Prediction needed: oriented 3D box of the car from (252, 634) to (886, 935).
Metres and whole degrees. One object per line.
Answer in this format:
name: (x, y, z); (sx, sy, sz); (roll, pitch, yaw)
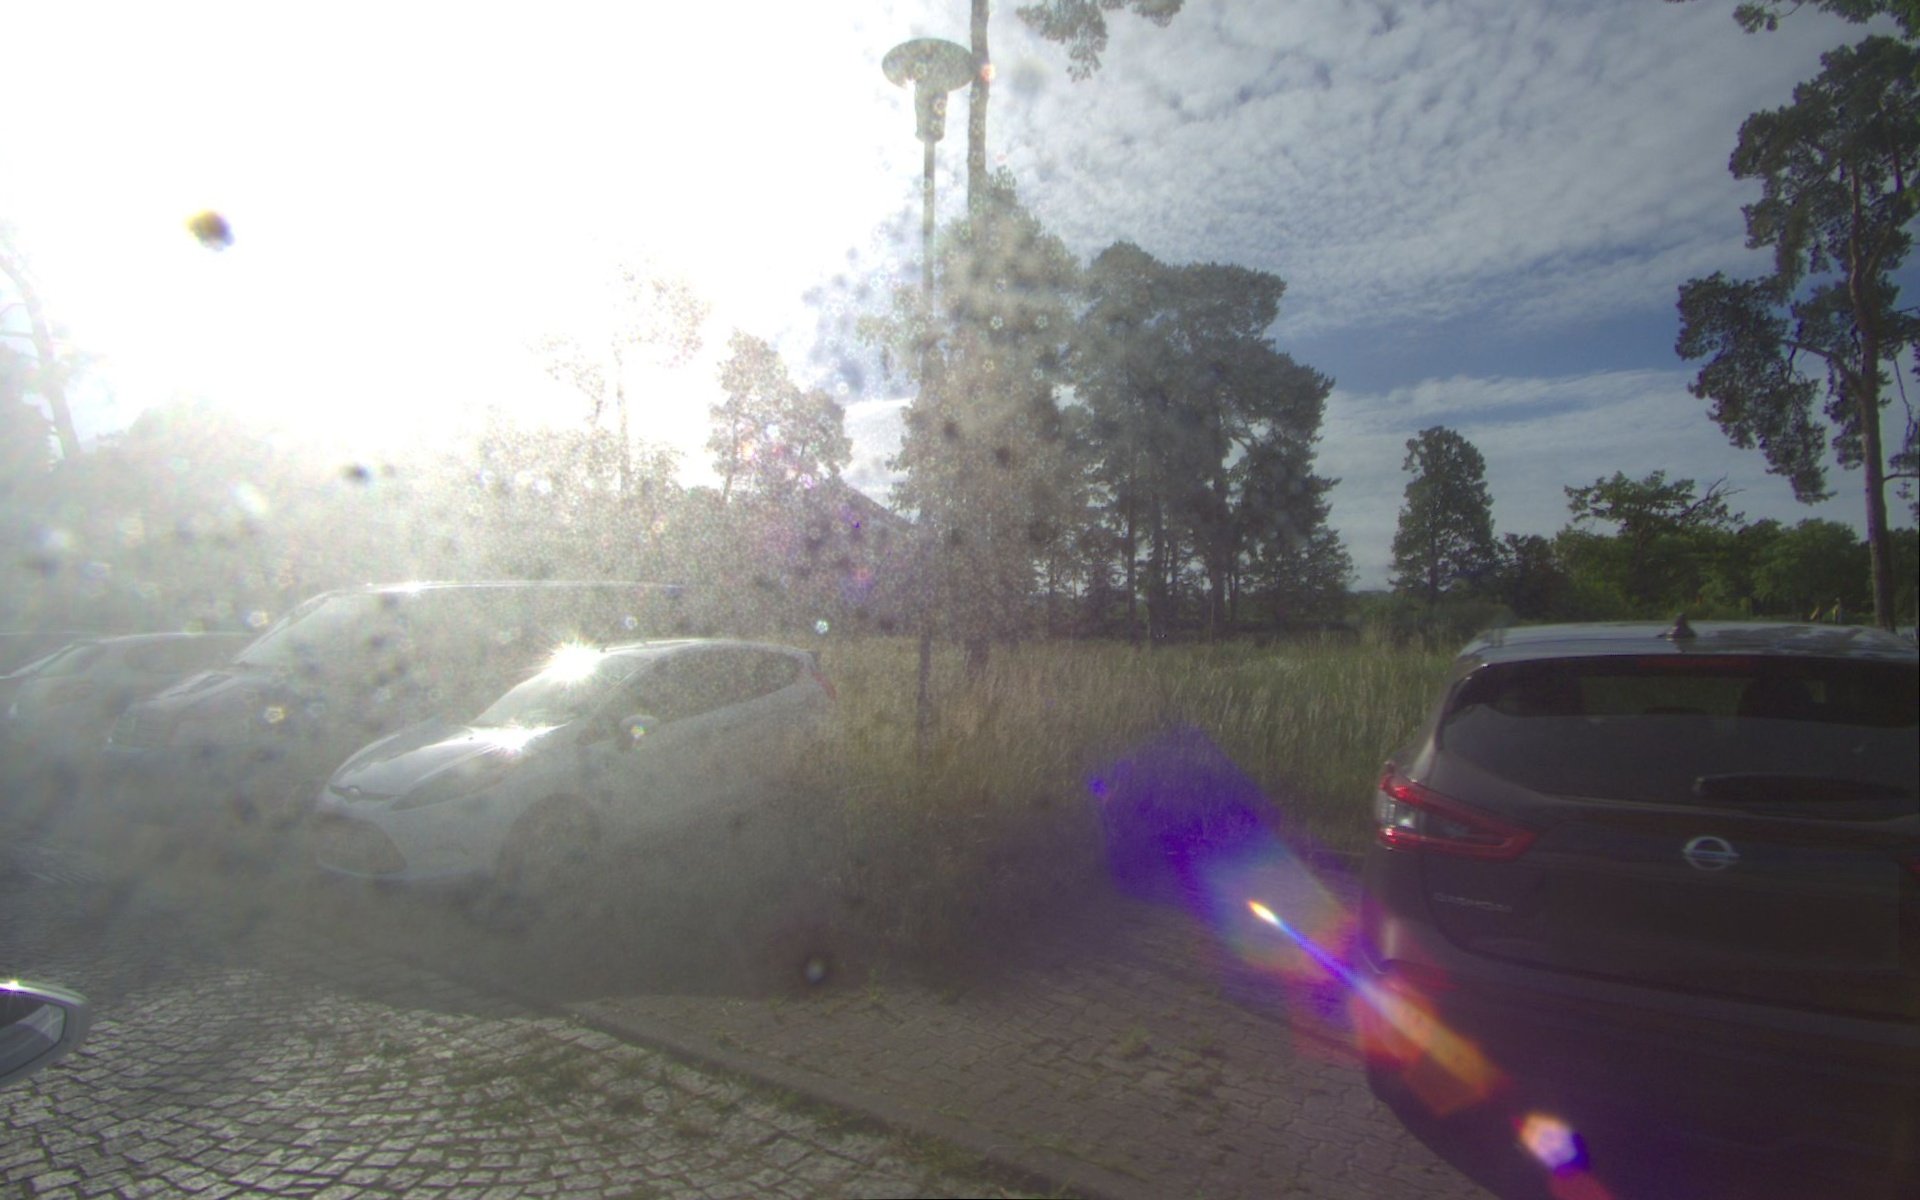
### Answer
car: (-2.451, 1.020, 7.382); (1.781, 1.488, 4.186); (-1, -2, 30)

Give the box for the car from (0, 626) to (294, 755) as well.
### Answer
car: (-11.319, 1.099, 13.140); (1.806, 1.486, 3.942); (-1, -2, 34)

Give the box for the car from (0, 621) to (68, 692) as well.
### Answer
car: (-21.680, 1.200, 20.695); (1.867, 1.492, 4.502); (-1, -2, 29)

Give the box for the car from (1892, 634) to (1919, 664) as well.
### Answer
car: (67.036, 3.390, 68.990); (2.592, 2.039, 5.646); (-1, -2, 27)

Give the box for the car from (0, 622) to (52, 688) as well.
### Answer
car: (-23.633, 1.269, 22.436); (1.905, 1.524, 4.536); (-1, -2, 32)

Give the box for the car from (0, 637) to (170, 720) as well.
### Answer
car: (-15.700, 1.268, 16.459); (1.703, 1.277, 3.942); (-1, -2, 34)

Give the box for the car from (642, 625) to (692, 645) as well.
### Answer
car: (-25.226, 3.006, 86.335); (1.830, 1.701, 3.926); (-1, -2, 31)

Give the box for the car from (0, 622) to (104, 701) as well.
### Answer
car: (-19.469, 1.188, 19.070); (1.824, 1.492, 4.497); (-1, -2, 33)

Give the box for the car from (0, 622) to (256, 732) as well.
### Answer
car: (-13.357, 1.110, 15.287); (1.748, 1.514, 3.942); (-1, -2, 34)

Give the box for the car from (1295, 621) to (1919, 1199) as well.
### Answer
car: (2.806, 0.898, 3.970); (1.851, 1.609, 4.182); (-1, -2, 32)

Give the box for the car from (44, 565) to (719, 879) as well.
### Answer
car: (-4.562, 0.769, 8.745); (1.964, 1.954, 4.722); (-1, 0, 33)

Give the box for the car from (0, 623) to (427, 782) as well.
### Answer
car: (-8.740, 1.062, 11.934); (1.783, 1.550, 3.865); (-1, -2, 34)

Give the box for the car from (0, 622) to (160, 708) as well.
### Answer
car: (-17.428, 1.165, 18.099); (1.716, 1.492, 4.331); (-1, -2, 33)
